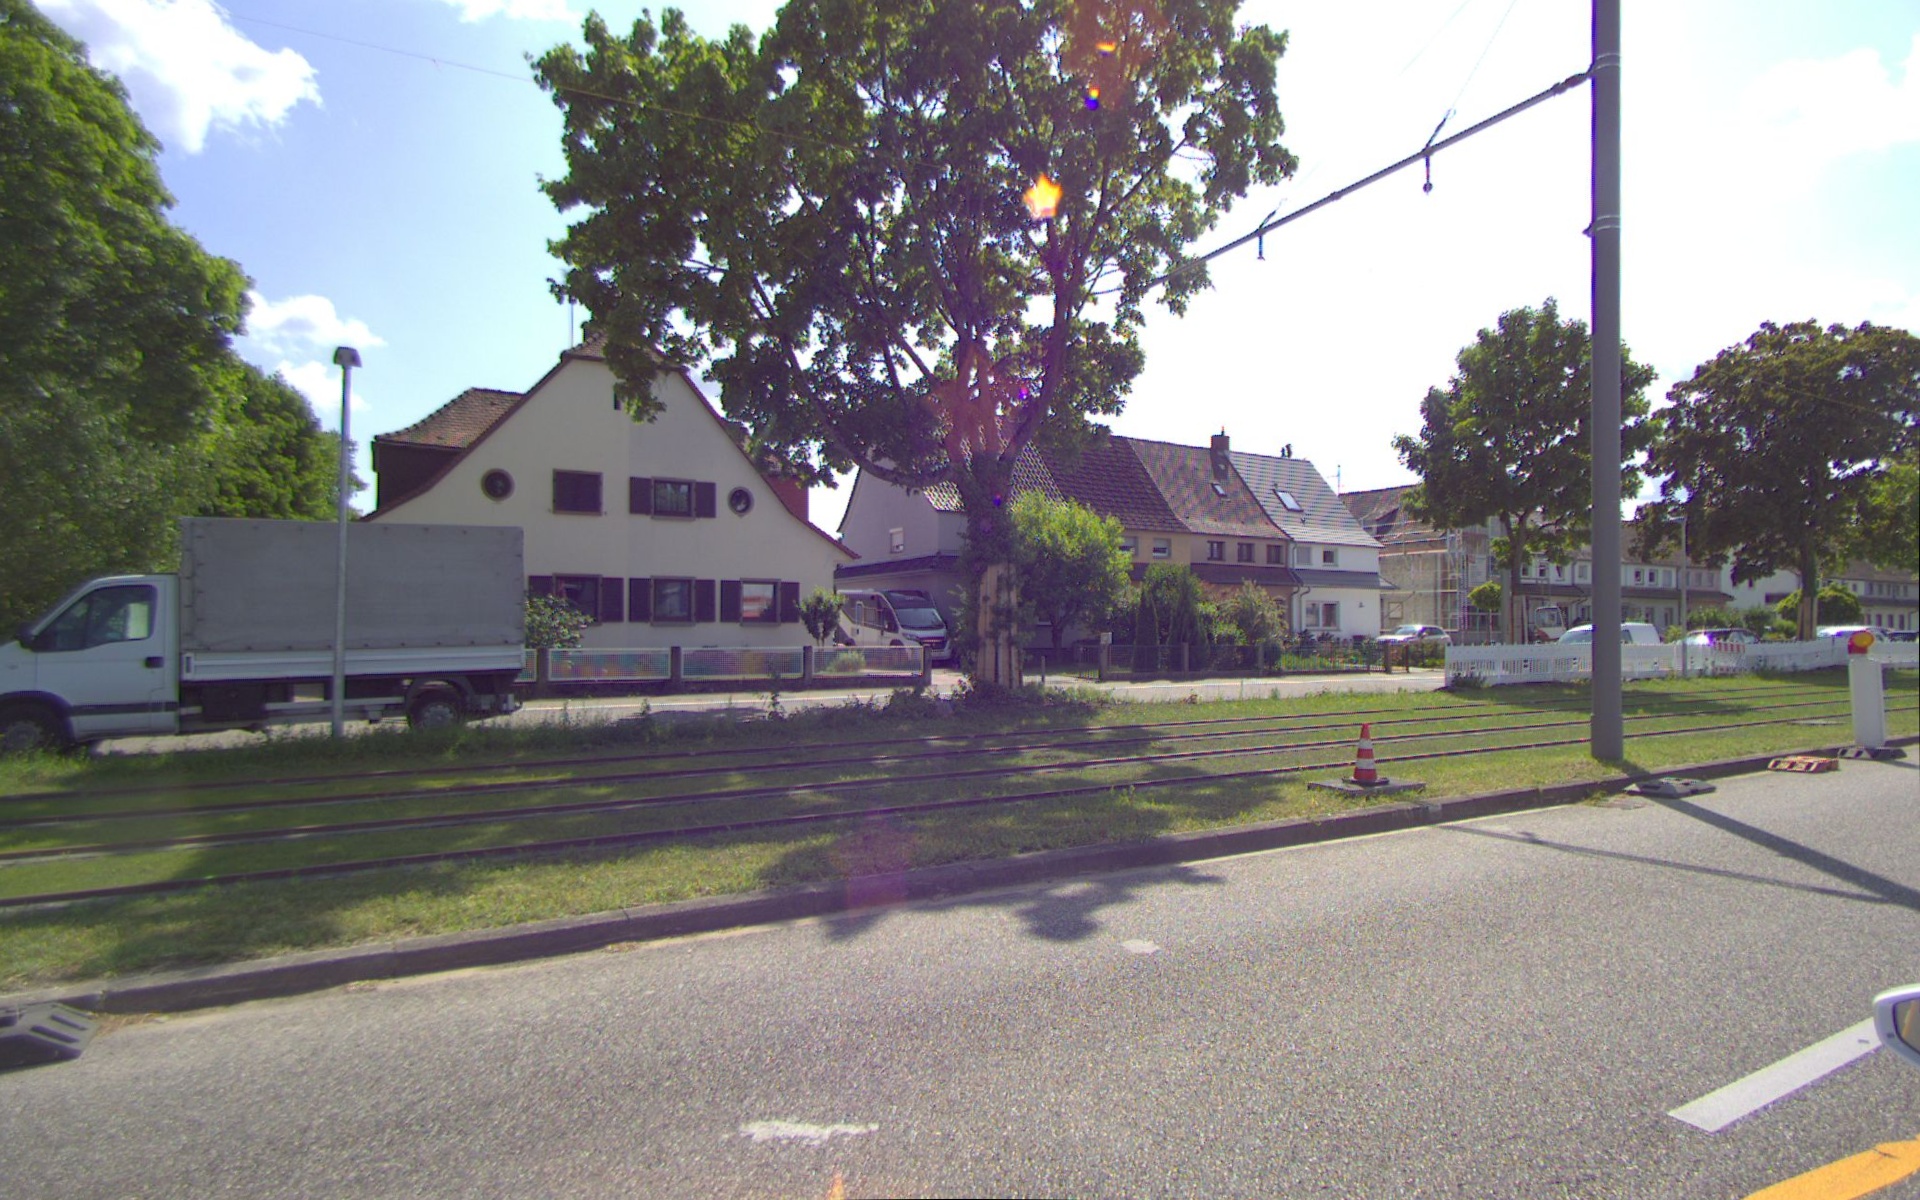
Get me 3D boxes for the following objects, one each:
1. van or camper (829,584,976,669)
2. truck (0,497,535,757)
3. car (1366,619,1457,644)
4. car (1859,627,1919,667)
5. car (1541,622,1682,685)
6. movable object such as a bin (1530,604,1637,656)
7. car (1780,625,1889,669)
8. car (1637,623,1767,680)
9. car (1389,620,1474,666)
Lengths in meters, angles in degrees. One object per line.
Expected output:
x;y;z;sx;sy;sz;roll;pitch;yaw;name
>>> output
-2.232;0.883;36.668;2.672;2.675;6.055;2;1;-33;van or camper
-8.907;0.384;12.848;6.203;2.803;1.985;1;-4;-31;truck
19.928;1.410;44.298;3.934;1.066;1.677;2;-3;-30;car
40.241;2.007;42.607;3.953;1.627;1.984;2;-3;-30;car
19.538;1.604;30.119;3.953;1.772;1.984;2;-3;-30;car
30.866;1.495;49.777;4.283;2.482;1.781;-1;-2;39;movable object such as a bin
33.746;1.805;38.749;3.953;1.627;1.984;2;-3;-30;car
24.213;1.678;32.767;3.953;1.772;1.984;2;-3;-30;car
18.843;1.721;40.155;2.995;1.744;1.677;2;-3;-30;car
